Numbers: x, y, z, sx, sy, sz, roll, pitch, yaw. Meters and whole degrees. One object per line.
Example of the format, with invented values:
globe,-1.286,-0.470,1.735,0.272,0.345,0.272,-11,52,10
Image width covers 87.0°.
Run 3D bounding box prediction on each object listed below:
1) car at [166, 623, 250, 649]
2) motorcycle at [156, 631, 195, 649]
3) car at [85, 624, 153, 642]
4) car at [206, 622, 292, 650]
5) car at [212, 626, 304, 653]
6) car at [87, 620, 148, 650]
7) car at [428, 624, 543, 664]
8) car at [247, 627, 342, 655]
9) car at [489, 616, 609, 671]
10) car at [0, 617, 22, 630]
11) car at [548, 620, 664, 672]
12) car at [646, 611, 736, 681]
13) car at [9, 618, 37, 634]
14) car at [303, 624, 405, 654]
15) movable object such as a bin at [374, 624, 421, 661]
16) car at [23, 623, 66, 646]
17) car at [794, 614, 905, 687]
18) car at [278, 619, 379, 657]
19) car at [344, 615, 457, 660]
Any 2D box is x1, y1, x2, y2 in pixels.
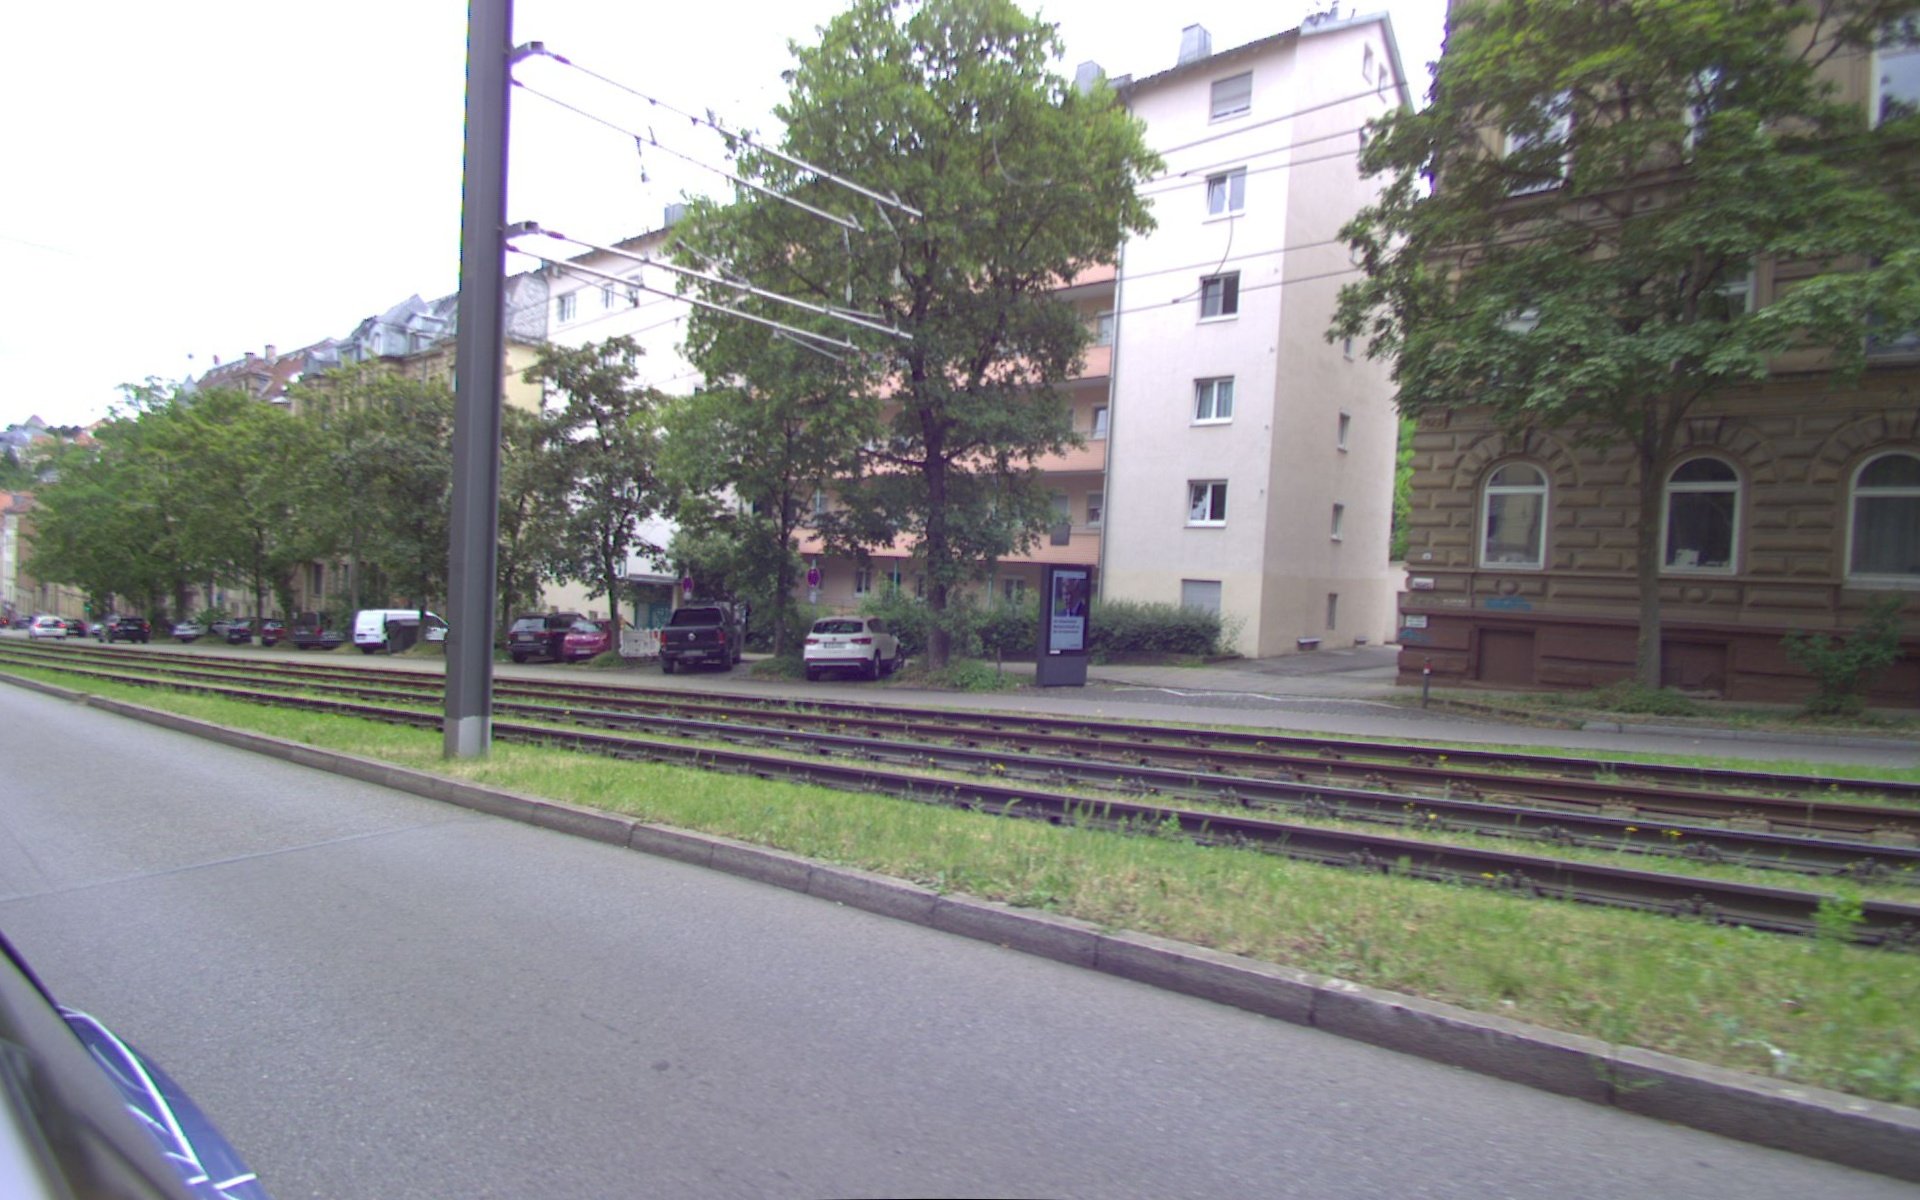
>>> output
car,-46.072,2.188,62.128,1.765,1.480,4.145,1,0,8
motorcycle,-50.181,2.542,64.768,0.617,1.066,2.202,0,0,5
car,-66.461,2.598,80.093,1.765,1.433,3.989,0,-1,8
car,-41.941,2.108,59.791,1.849,1.585,4.183,0,-2,6
car,-39.443,2.181,56.951,1.851,1.446,4.177,0,-2,10
car,-49.455,2.046,59.384,4.603,1.663,1.898,-2,-4,40
car,-18.403,1.679,39.491,1.913,1.355,4.598,-1,0,7
car,-35.082,2.135,53.508,1.851,1.446,4.178,0,-2,10
car,-14.290,1.461,35.486,1.913,1.694,4.598,-1,0,7
car,-121.779,3.037,129.620,4.468,1.663,1.860,-2,-4,41
car,-12.000,1.522,34.638,1.913,1.560,4.598,-1,0,7
car,-7.777,1.271,29.643,1.906,1.811,4.614,-1,0,-7
car,-105.498,2.911,113.880,4.240,1.669,1.762,-1,-3,40
car,-28.466,1.826,47.699,1.851,1.350,4.178,0,-2,10
movable object such as a bin,-22.559,1.697,40.620,1.090,1.411,1.268,-1,-1,24
car,-59.761,2.265,66.043,3.409,1.446,1.572,-2,-4,39
car,-2.738,1.225,26.112,1.912,1.629,4.599,-1,0,6
car,-30.734,1.843,49.380,1.851,1.781,4.178,0,-2,10
car,-24.138,1.619,43.799,1.856,1.850,4.167,-1,-2,17
